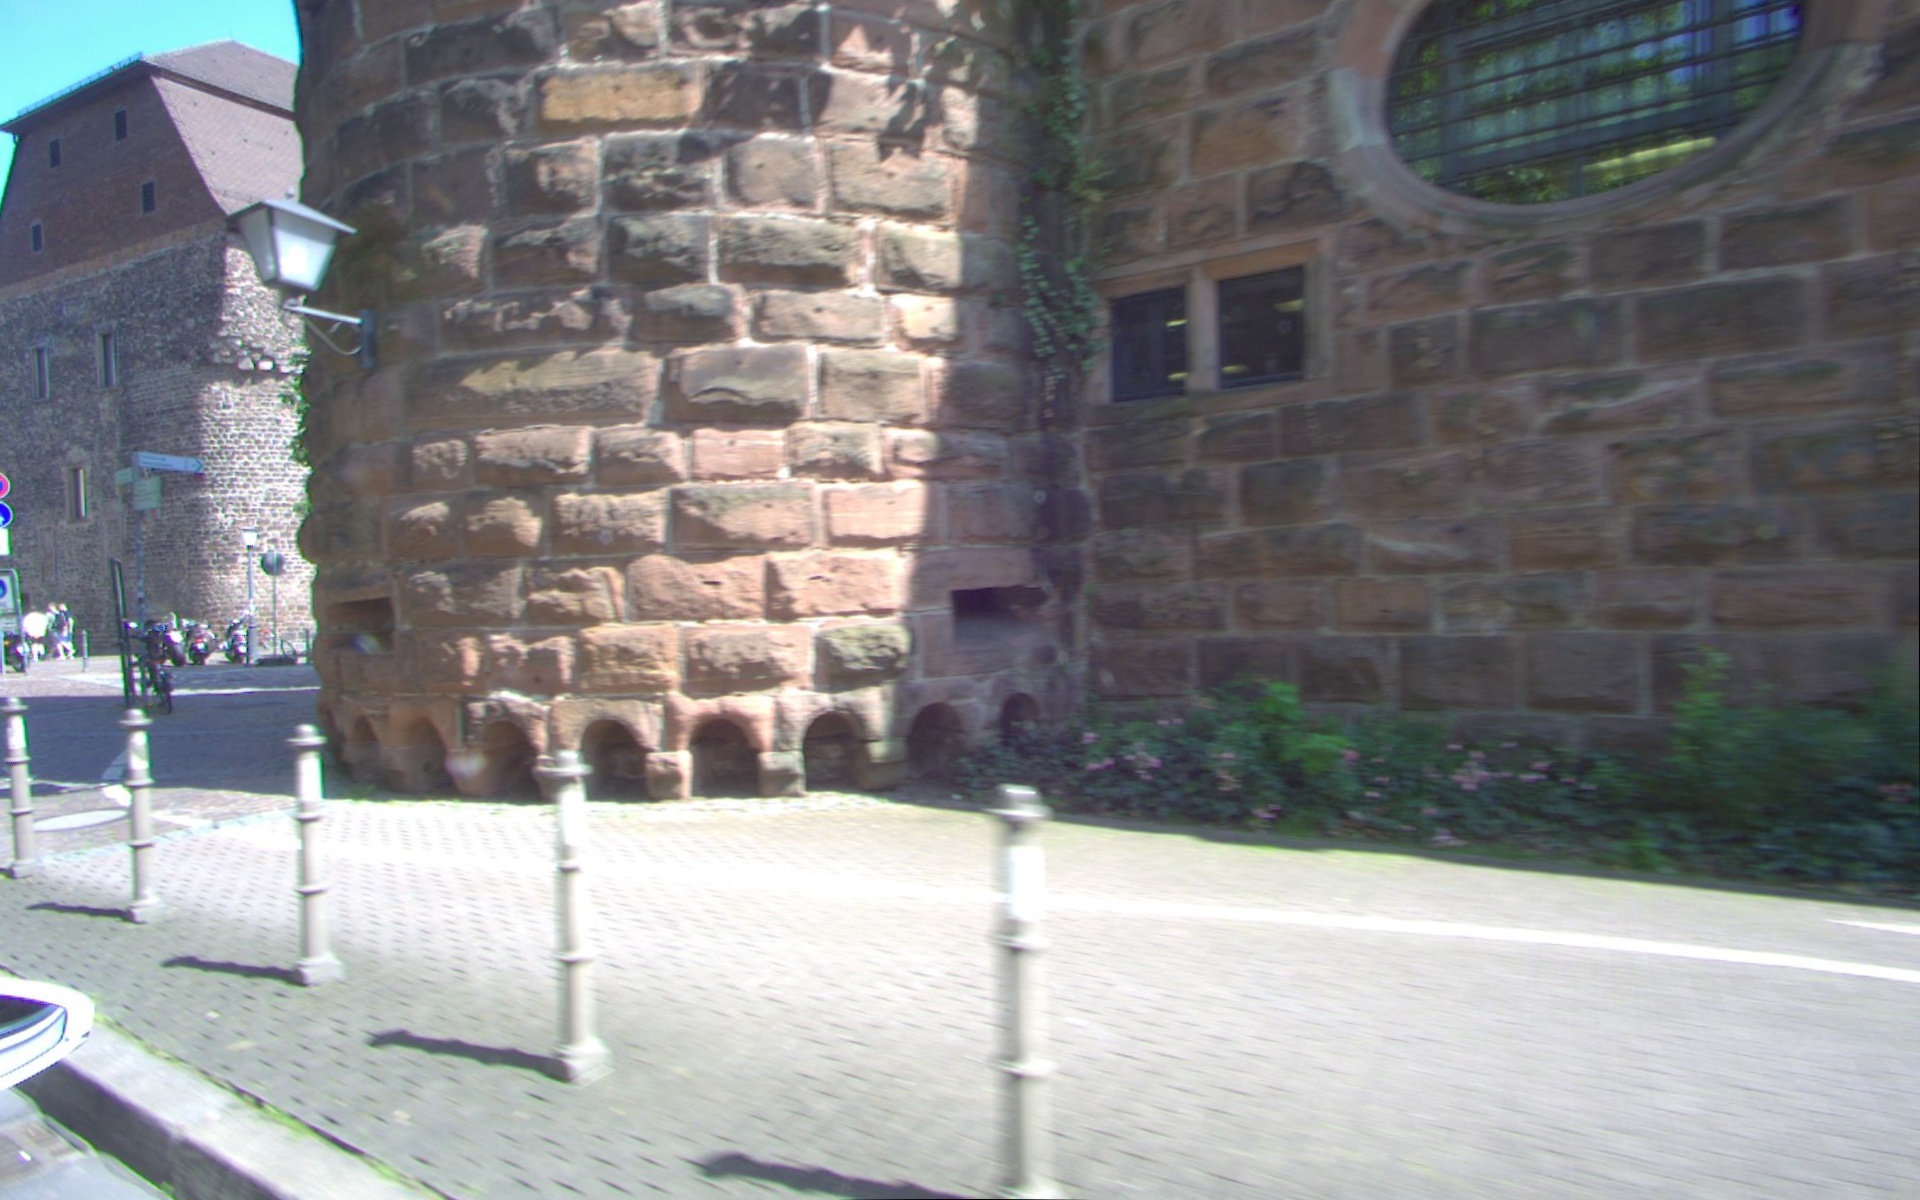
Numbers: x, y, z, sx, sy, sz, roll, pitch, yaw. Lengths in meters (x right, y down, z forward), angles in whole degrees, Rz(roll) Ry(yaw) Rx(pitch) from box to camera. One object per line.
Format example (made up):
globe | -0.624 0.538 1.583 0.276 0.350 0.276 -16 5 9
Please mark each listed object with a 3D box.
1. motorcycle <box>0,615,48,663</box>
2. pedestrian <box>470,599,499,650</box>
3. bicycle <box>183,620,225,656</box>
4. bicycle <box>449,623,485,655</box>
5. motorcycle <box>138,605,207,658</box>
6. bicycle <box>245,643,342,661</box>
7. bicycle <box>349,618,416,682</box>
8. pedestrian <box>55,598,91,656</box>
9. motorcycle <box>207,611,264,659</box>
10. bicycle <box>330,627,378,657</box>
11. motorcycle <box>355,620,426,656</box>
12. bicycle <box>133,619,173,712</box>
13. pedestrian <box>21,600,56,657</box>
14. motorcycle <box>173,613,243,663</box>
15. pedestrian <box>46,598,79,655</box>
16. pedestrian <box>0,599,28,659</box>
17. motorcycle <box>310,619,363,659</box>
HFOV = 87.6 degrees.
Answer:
motorcycle | -21.371 0.866 22.535 2.453 1.026 0.565 -1 1 32
pedestrian | -16.252 0.828 34.217 0.799 1.684 0.652 -2 1 -34
bicycle | -25.814 1.303 34.186 1.691 1.225 0.388 -2 -1 24
bicycle | -15.452 1.213 31.369 1.362 0.978 0.359 -2 -2 31
motorcycle | -19.684 0.800 25.021 2.169 1.282 0.654 -2 -1 32
bicycle | -16.755 1.294 25.186 1.916 0.386 0.909 0 -2 -44
bicycle | -11.151 0.944 19.315 1.707 1.178 0.445 -1 1 36
pedestrian | -31.592 0.964 35.661 0.865 2.039 0.729 -1 -1 32
motorcycle | -19.414 0.958 26.811 2.002 1.251 0.545 -2 -2 32
bicycle | -17.618 1.216 29.105 1.898 0.831 0.353 -1 -1 32
motorcycle | -17.555 1.161 30.910 0.474 1.067 1.858 -2 -2 40
bicycle | -11.229 0.881 13.920 1.750 1.220 0.192 0 0 44
pedestrian | -31.138 0.977 33.842 0.809 1.908 0.667 -1 -1 31
motorcycle | -19.413 0.991 25.836 2.280 1.251 0.674 -2 -2 32
pedestrian | -31.171 0.928 34.782 0.809 1.944 0.667 -1 -1 31
pedestrian | -30.905 0.949 32.561 0.742 1.914 0.745 -2 -2 35
motorcycle | -17.219 1.081 27.627 1.814 1.086 0.506 -2 -2 32
